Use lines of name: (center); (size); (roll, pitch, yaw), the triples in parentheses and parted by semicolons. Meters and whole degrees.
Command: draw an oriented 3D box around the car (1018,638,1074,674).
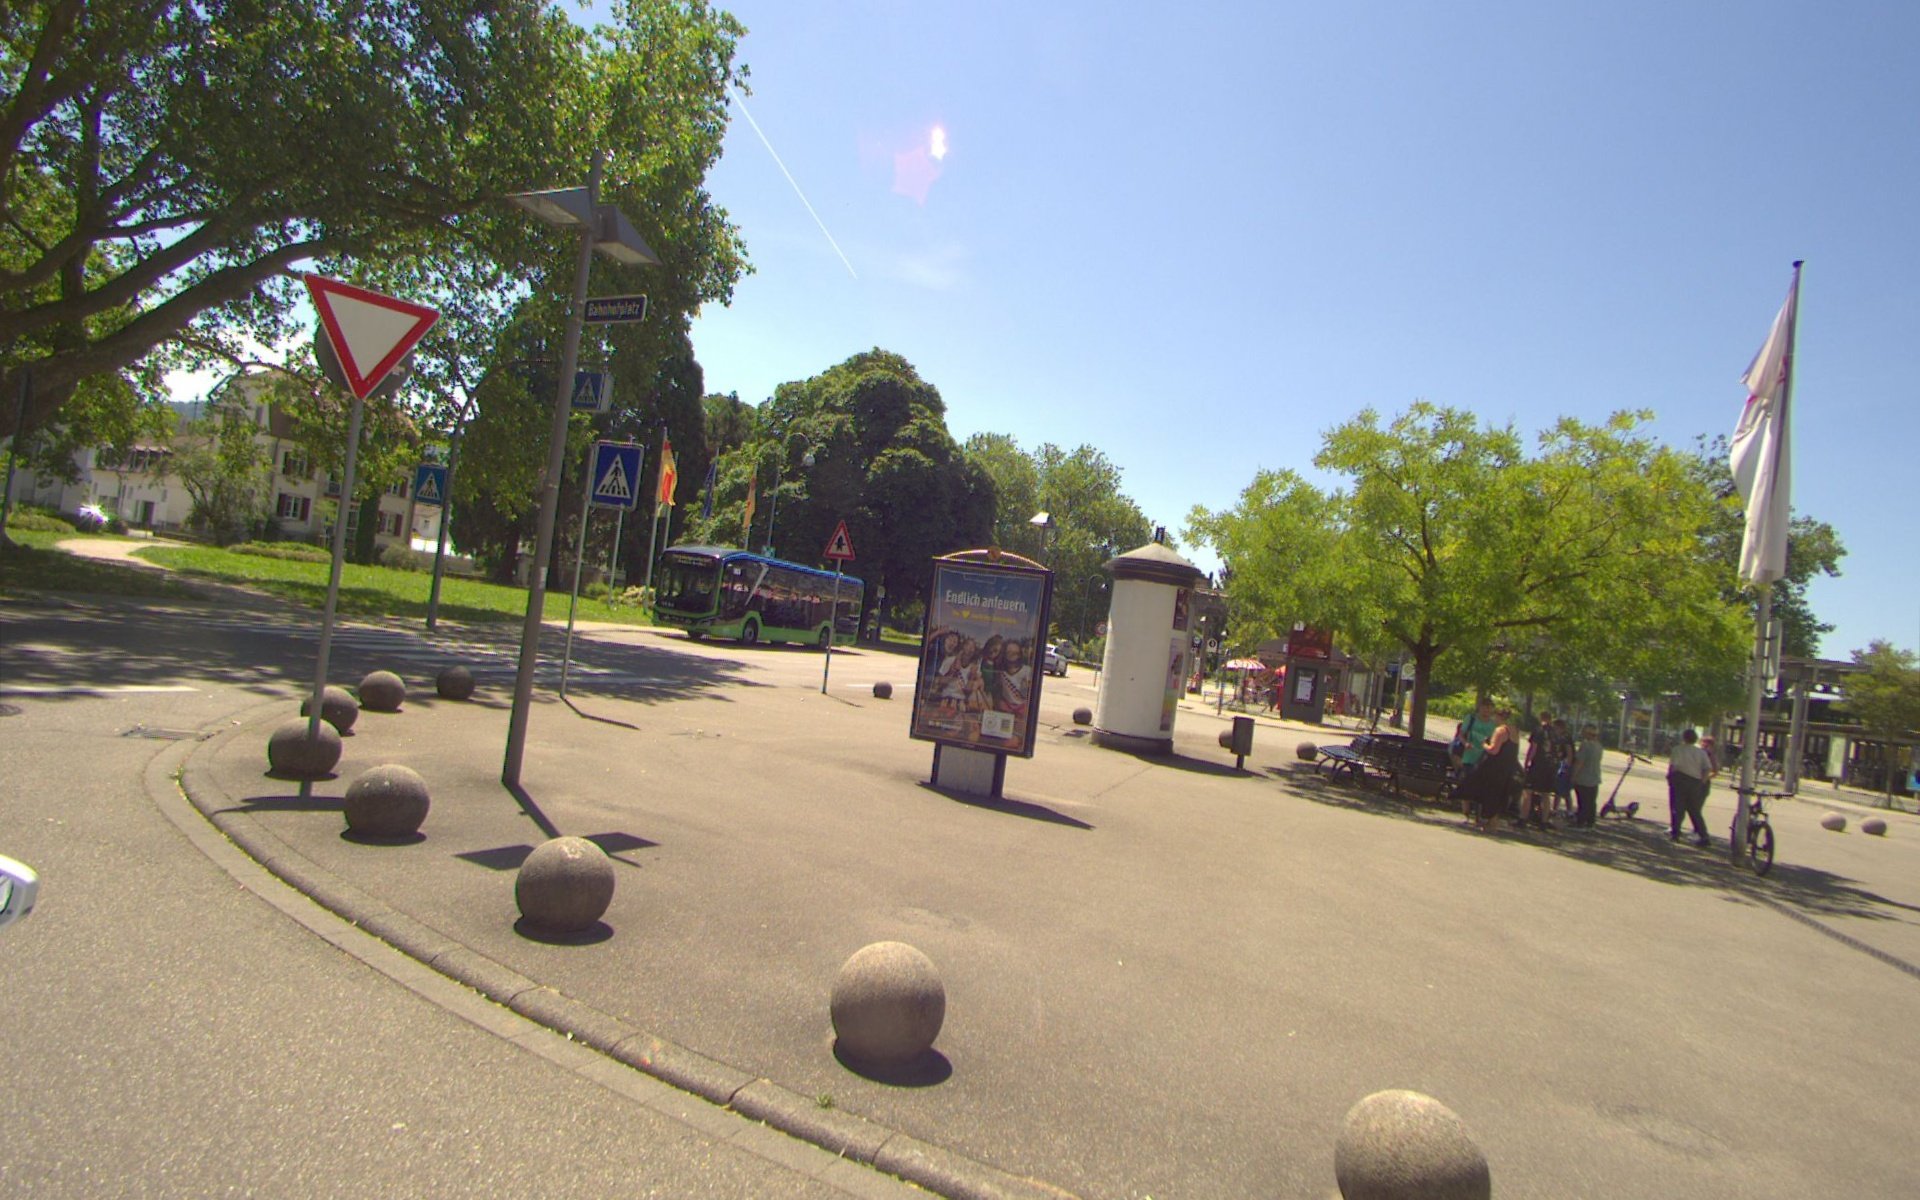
car: (4.787, 3.074, 55.099); (1.951, 1.646, 4.782); (7, -1, 17)

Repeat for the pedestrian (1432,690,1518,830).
pedestrian: (7.150, 2.203, 13.985); (0.681, 1.784, 0.585); (8, 0, 2)

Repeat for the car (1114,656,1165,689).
car: (9.570, 3.855, 53.364); (1.897, 1.477, 4.729); (5, -3, 18)

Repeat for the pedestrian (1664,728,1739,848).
pedestrian: (11.465, 2.888, 15.578); (0.544, 1.705, 0.588); (8, 0, 7)

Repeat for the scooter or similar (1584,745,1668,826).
scooter or similar: (11.010, 3.062, 16.650); (1.008, 1.152, 0.294); (8, -1, 12)

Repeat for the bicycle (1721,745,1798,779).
bicycle: (39.106, 7.916, 49.234); (2.743, 1.015, 0.812); (10, -1, 17)

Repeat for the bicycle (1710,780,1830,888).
bicycle: (10.643, 3.034, 13.288); (0.413, 1.072, 1.951); (8, -2, 17)

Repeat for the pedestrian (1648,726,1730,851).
pedestrian: (10.897, 2.803, 15.051); (0.607, 1.705, 0.591); (8, 0, 7)

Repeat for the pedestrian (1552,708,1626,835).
pedestrian: (9.355, 2.539, 14.974); (0.503, 1.760, 0.570); (8, 0, -10)

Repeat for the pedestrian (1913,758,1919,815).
pedestrian: (31.370, 6.058, 32.470); (0.680, 1.831, 0.629); (7, 0, 41)

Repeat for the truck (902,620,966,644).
truck: (-4.031, 4.783, 151.939); (11.220, 2.376, 2.273); (6, -2, 45)

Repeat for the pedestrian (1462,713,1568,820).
pedestrian: (8.518, 2.546, 15.476); (0.898, 1.402, 0.942); (8, -1, -11)

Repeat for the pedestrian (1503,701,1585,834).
pedestrian: (8.324, 2.374, 14.359); (0.575, 1.760, 0.599); (8, 0, -6)

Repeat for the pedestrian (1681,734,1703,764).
pedestrian: (36.703, 7.476, 50.473); (0.615, 1.411, 0.677); (6, -2, 19)

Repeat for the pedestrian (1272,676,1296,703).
pedestrian: (17.489, 4.823, 54.286); (0.881, 1.328, 0.686); (8, -1, -16)

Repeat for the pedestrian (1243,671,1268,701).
pedestrian: (15.646, 4.556, 53.254); (0.882, 1.434, 0.686); (8, -1, -18)

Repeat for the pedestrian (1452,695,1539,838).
pedestrian: (7.100, 2.194, 13.359); (0.617, 1.760, 0.547); (8, 0, -6)

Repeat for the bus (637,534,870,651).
bus: (-7.472, 0.036, 39.529); (2.765, 3.321, 12.434); (8, -1, 19)
